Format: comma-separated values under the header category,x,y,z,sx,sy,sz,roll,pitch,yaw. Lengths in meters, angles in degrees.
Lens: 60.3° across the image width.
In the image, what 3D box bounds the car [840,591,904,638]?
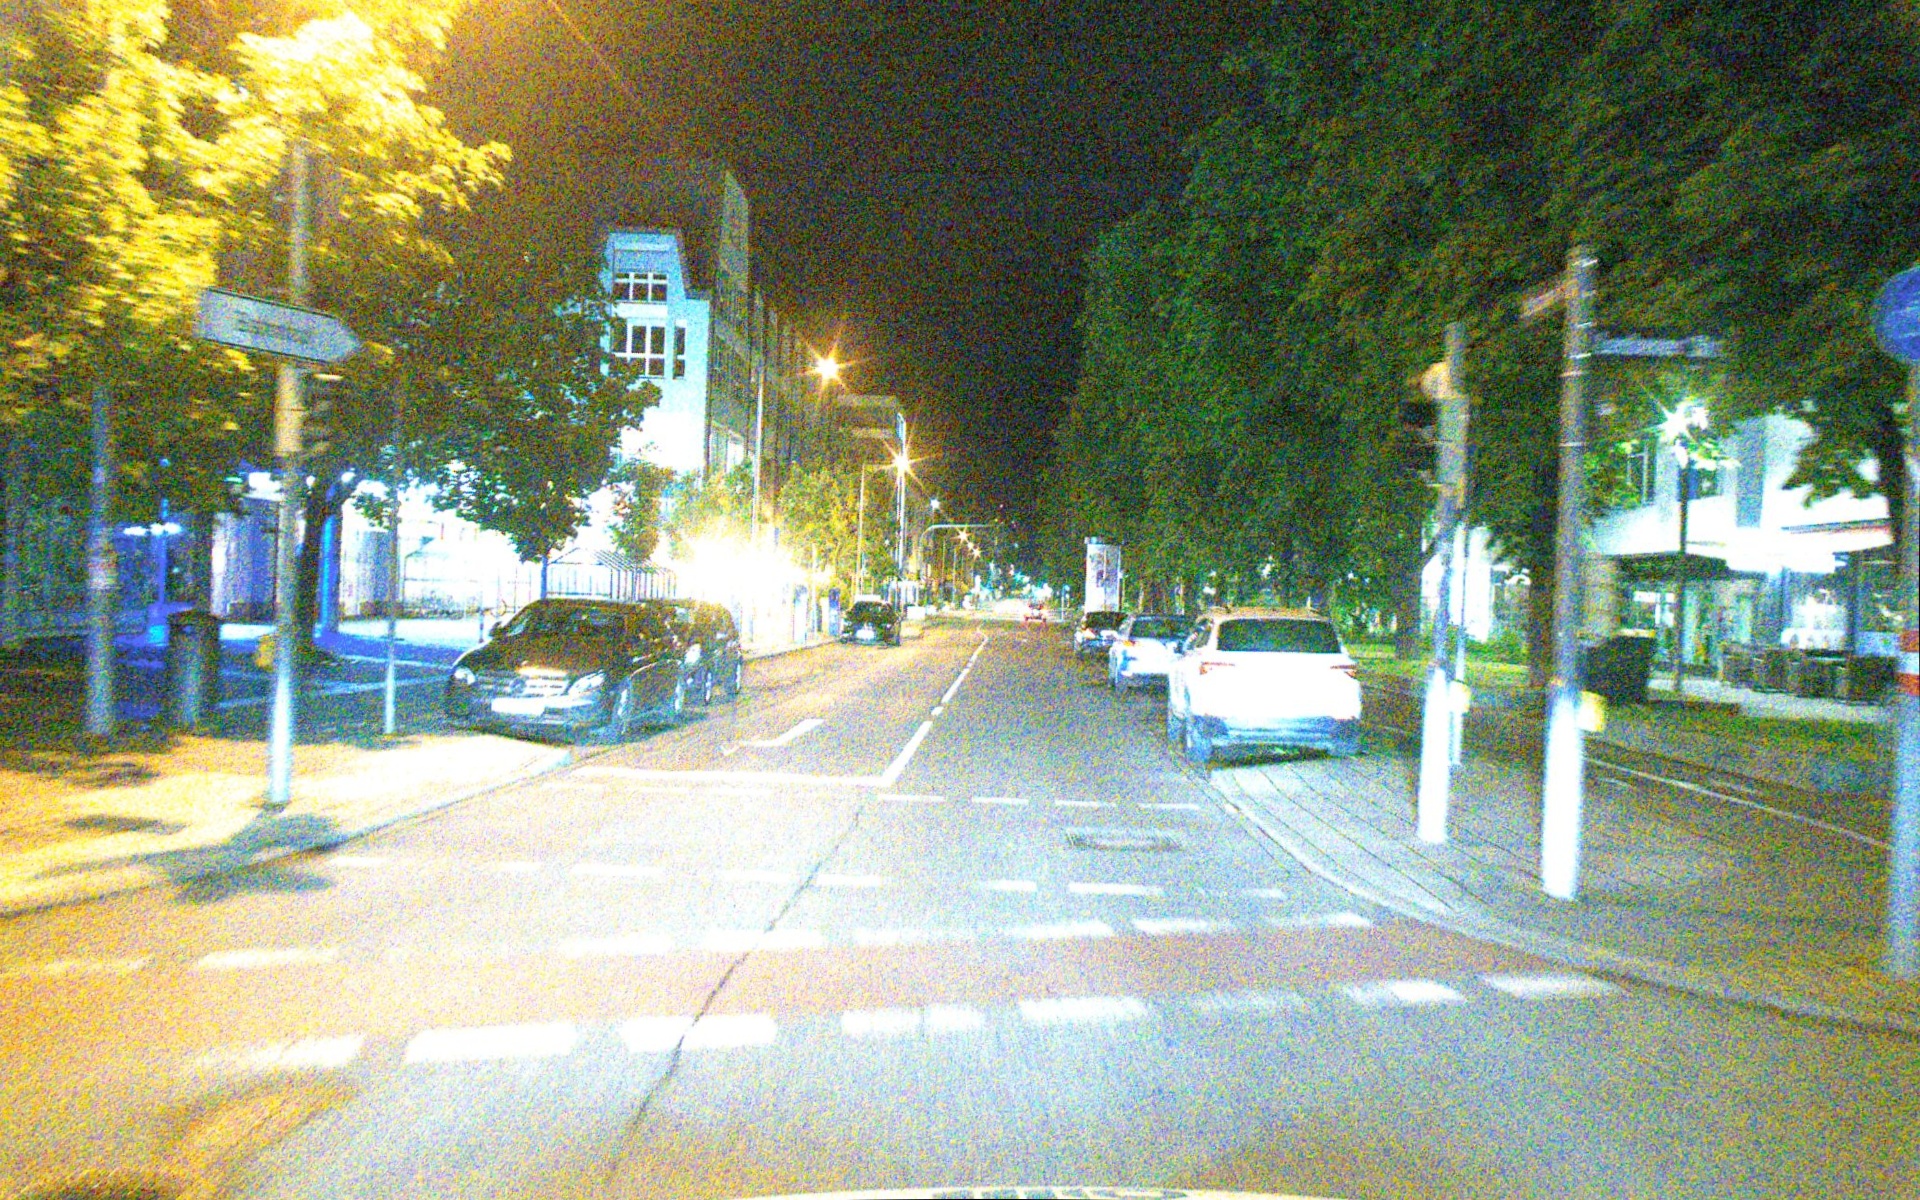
category,x,y,z,sx,sy,sz,roll,pitch,yaw
car,-2.980,0.468,57.065,1.705,1.438,4.497,3,1,3

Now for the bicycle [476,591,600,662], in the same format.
category,x,y,z,sx,sy,sz,roll,pitch,yaw
bicycle,-6.818,0.424,26.755,1.813,1.017,0.533,4,0,1

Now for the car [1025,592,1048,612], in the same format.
category,x,y,z,sx,sy,sz,roll,pitch,yaw
car,6.585,0.158,142.485,1.952,1.672,4.001,1,0,2

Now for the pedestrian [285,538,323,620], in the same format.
category,x,y,z,sx,sy,sz,roll,pitch,yaw
pedestrian,-13.596,-0.435,34.287,0.468,1.665,0.632,2,0,3

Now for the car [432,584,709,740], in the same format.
category,x,y,z,sx,sy,sz,roll,pitch,yaw
car,-4.277,0.604,19.039,1.769,1.449,4.922,4,0,2

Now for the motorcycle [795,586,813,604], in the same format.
category,x,y,z,sx,sy,sz,roll,pitch,yaw
motorcycle,-8.856,-0.280,93.764,0.468,1.038,1.676,2,1,12

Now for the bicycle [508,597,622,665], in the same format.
category,x,y,z,sx,sy,sz,roll,pitch,yaw
bicycle,-6.873,0.536,28.813,1.813,1.053,0.533,3,0,1

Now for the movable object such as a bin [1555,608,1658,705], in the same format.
category,x,y,z,sx,sy,sz,roll,pitch,yaw
movable object such as a bin,9.892,0.853,25.352,1.136,1.395,0.993,2,0,0

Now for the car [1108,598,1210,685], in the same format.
category,x,y,z,sx,sy,sz,roll,pitch,yaw
car,3.795,0.751,32.029,1.654,1.563,4.017,0,0,2

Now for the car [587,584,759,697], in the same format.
category,x,y,z,sx,sy,sz,roll,pitch,yaw
car,-4.235,0.551,24.986,1.686,1.453,3.978,4,0,2

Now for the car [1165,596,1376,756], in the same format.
category,x,y,z,sx,sy,sz,roll,pitch,yaw
car,3.322,0.743,18.442,1.733,1.563,4.218,0,0,2

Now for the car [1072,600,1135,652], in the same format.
category,x,y,z,sx,sy,sz,roll,pitch,yaw
car,4.355,0.765,50.767,1.727,1.439,4.809,1,0,3
